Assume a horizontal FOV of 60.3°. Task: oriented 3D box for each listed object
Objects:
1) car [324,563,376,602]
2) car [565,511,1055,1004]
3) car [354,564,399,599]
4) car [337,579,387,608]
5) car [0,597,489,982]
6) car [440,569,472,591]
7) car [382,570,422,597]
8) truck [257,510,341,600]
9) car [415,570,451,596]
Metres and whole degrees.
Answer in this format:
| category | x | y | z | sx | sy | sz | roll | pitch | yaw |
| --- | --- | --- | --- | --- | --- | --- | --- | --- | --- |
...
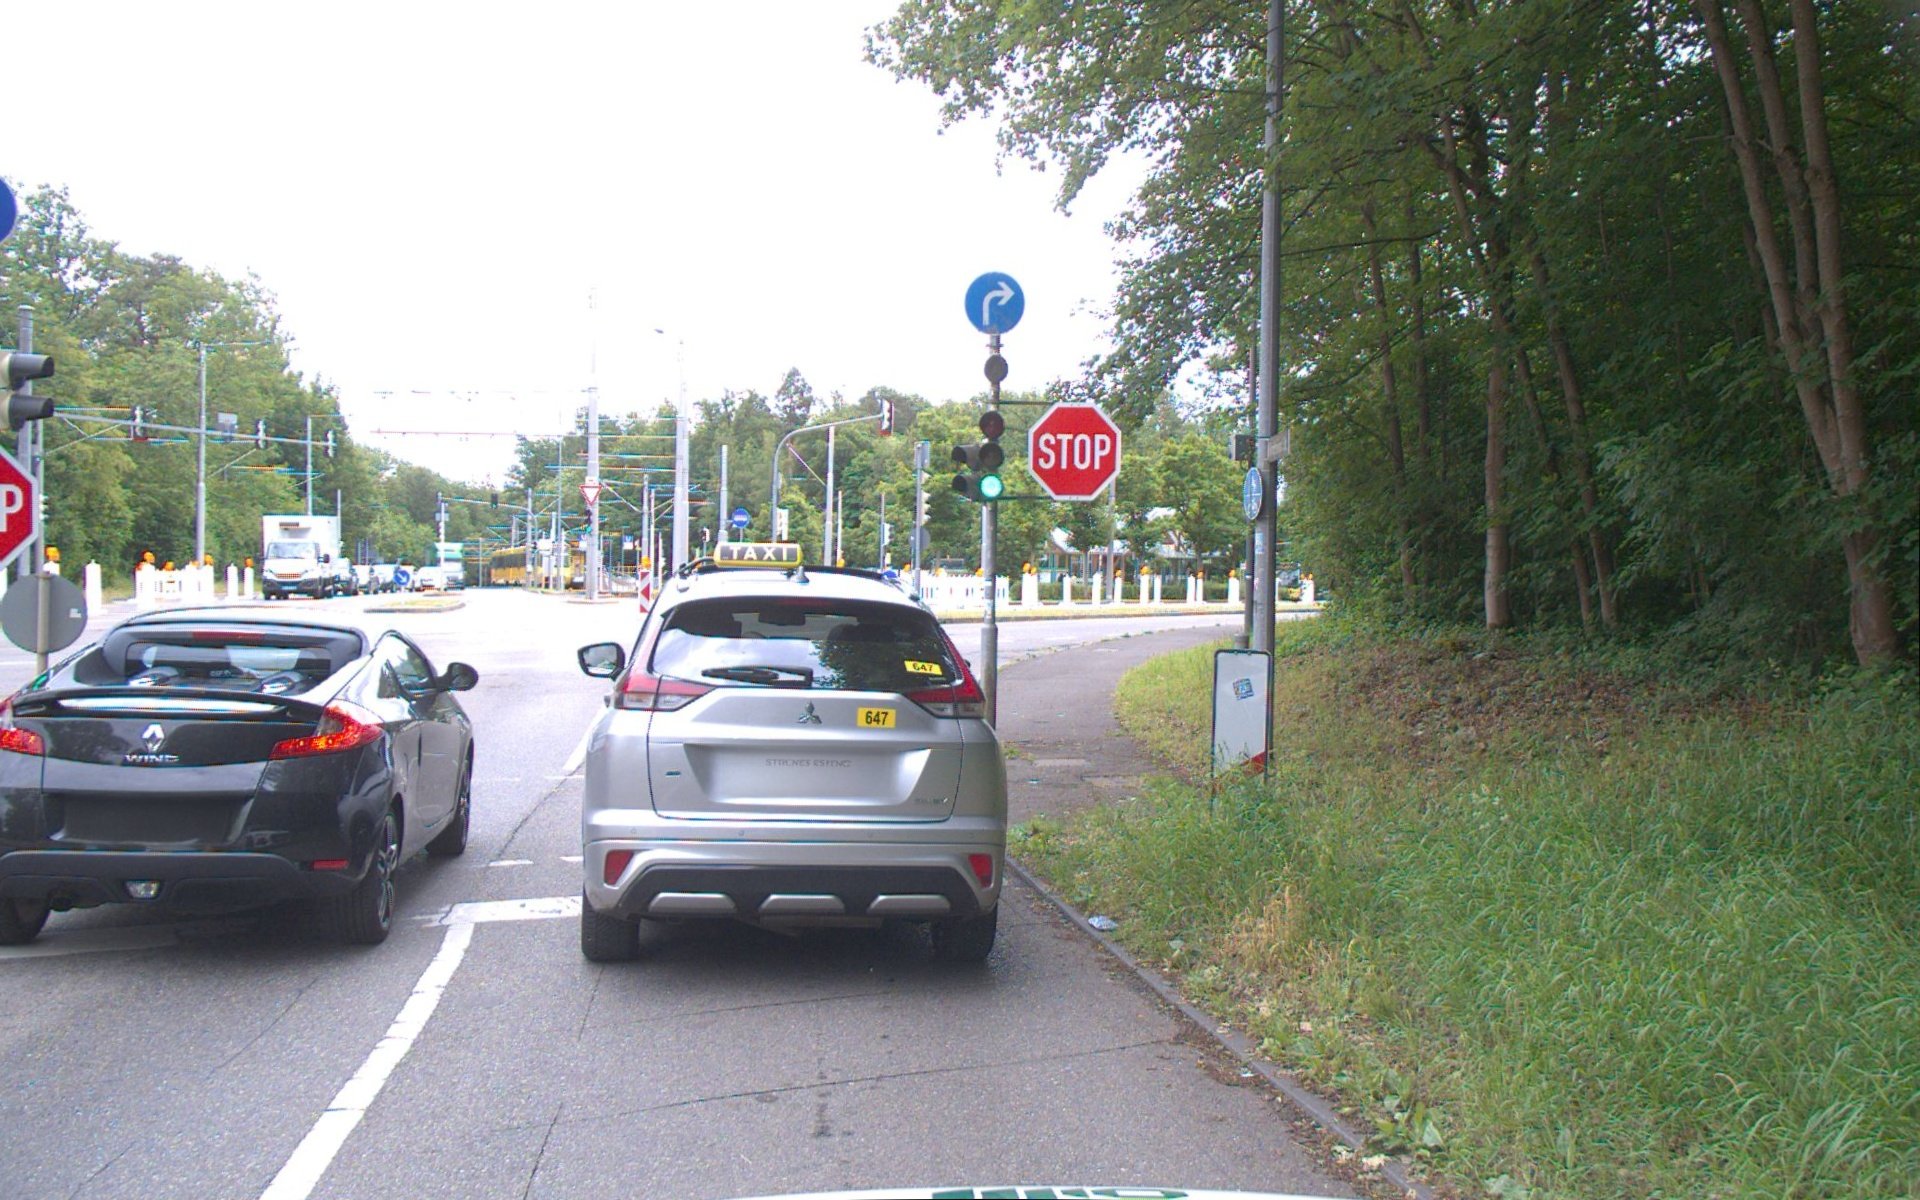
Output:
| category | x | y | z | sx | sy | sz | roll | pitch | yaw |
| --- | --- | --- | --- | --- | --- | --- | --- | --- | --- |
| car | -28.933 | -0.867 | 78.535 | 1.930 | 1.780 | 4.825 | 0 | 1 | -16 |
| car | -0.774 | 0.579 | 7.984 | 1.740 | 1.778 | 3.774 | 2 | 0 | -7 |
| car | -32.669 | -1.059 | 92.639 | 1.929 | 1.877 | 4.673 | 0 | 1 | -14 |
| car | -30.858 | -0.357 | 85.435 | 1.929 | 1.385 | 4.673 | 0 | 1 | -14 |
| car | -3.367 | 0.700 | 7.917 | 1.741 | 1.385 | 3.469 | 0 | 1 | -9 |
| car | -36.300 | -1.472 | 119.159 | 1.929 | 1.567 | 4.294 | 0 | 1 | -14 |
| car | -33.777 | -1.018 | 100.154 | 1.929 | 1.635 | 4.294 | 0 | 1 | -14 |
| truck | -25.591 | -1.694 | 64.296 | 2.410 | 3.280 | 7.122 | 0 | 1 | -17 |
| car | -33.714 | -1.099 | 105.876 | 1.929 | 1.568 | 4.380 | 0 | 1 | -14 |
